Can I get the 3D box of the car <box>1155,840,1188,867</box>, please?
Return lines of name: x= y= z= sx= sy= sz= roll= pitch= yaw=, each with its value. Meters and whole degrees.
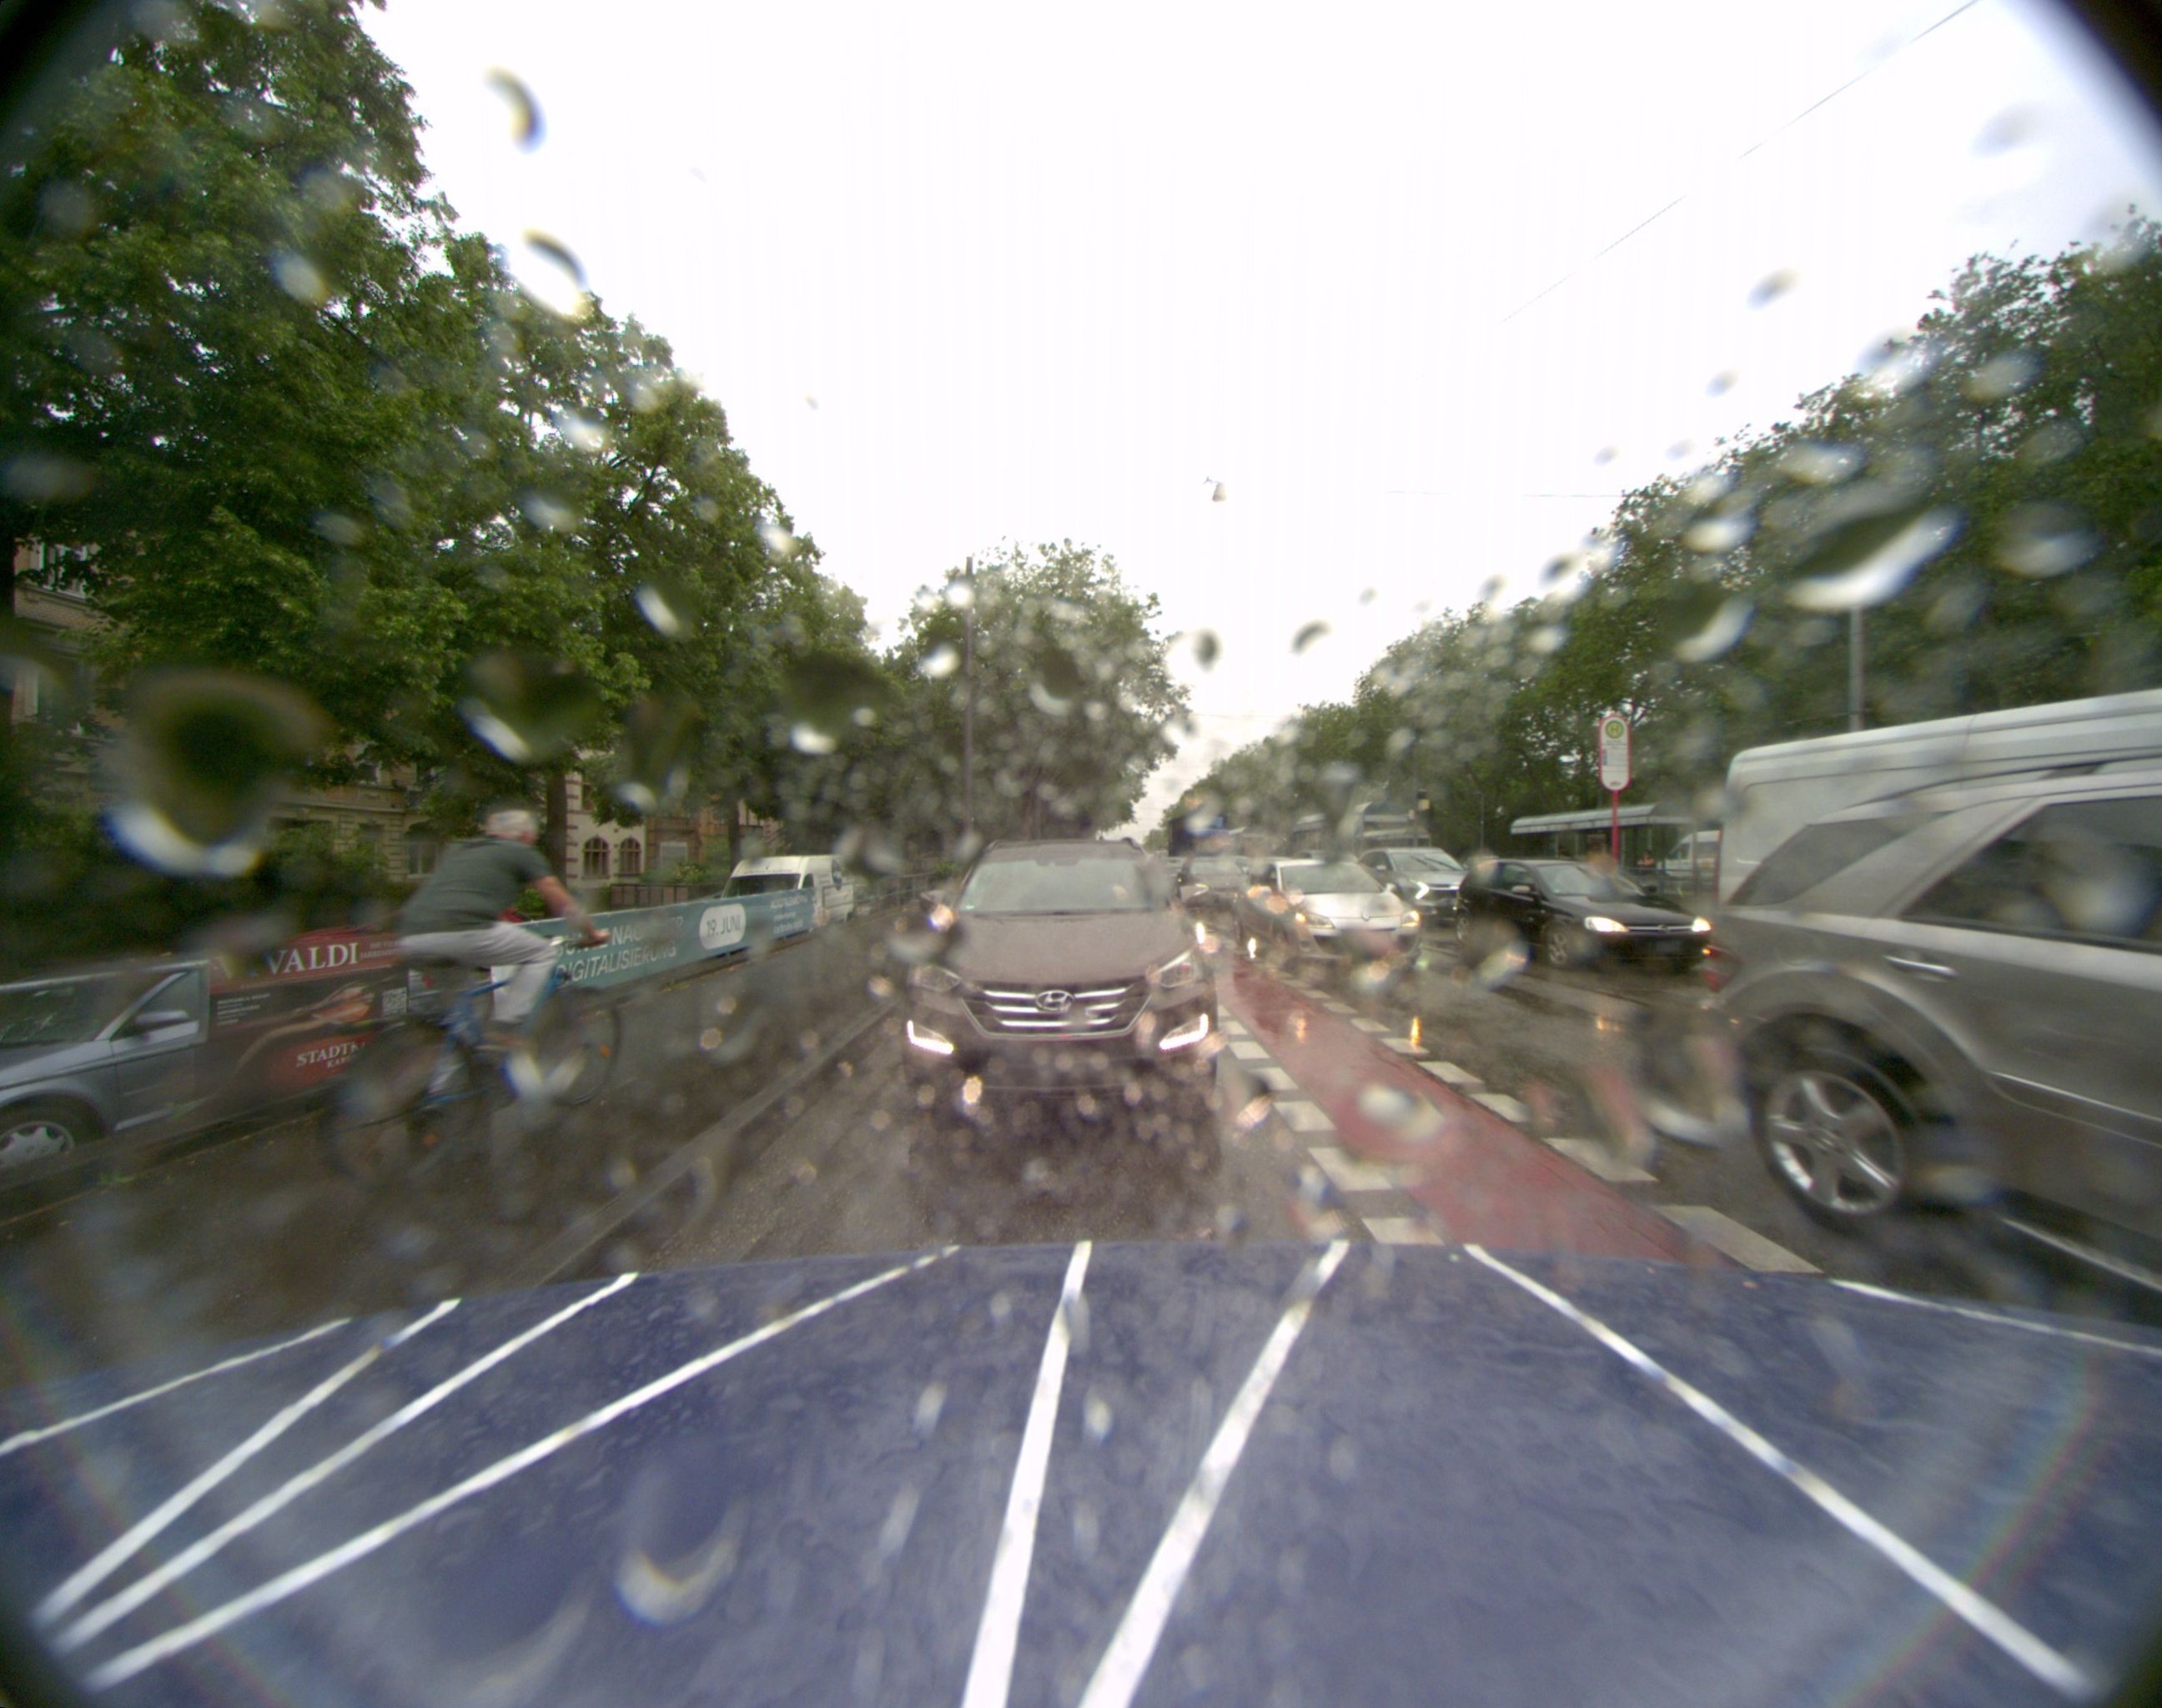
car: x=7.732 y=-0.056 z=65.551 sx=2.344 sy=2.137 sz=5.454 roll=-2 pitch=1 yaw=2

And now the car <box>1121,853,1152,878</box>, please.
car: x=4.122 y=0.816 z=57.085 sx=1.998 sy=1.737 sz=3.999 roll=-2 pitch=1 yaw=1

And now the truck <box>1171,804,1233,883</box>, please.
truck: x=7.131 y=-0.505 z=45.801 sx=2.417 sy=4.251 sz=8.354 roll=-1 pitch=-1 yaw=1

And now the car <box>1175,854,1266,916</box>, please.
car: x=3.871 y=0.826 z=21.860 sx=1.912 sy=1.540 sz=4.668 roll=-1 pitch=-1 yaw=3

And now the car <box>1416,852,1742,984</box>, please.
car: x=6.835 y=0.780 z=11.182 sx=1.786 sy=1.504 sz=4.557 roll=-1 pitch=-1 yaw=0

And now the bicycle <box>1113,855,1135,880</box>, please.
bicycle: x=2.002 y=0.627 z=35.817 sx=0.819 sy=1.082 sz=1.997 roll=-2 pitch=1 yaw=-3

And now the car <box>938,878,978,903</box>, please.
car: x=-7.801 y=2.328 z=48.570 sx=1.808 sy=1.446 sz=4.001 roll=-1 pitch=-1 yaw=1

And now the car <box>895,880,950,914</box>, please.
car: x=-7.531 y=2.011 z=36.447 sx=1.704 sy=1.363 sz=4.000 roll=-2 pitch=0 yaw=1

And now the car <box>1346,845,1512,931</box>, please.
car: x=7.423 y=0.685 z=16.735 sx=1.847 sy=1.625 sz=4.249 roll=-1 pitch=-1 yaw=3

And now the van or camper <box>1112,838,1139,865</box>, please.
van or camper: x=4.291 y=-0.222 z=74.168 sx=2.144 sy=2.484 sz=5.713 roll=-1 pitch=-1 yaw=-1

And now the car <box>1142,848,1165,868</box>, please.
car: x=7.443 y=0.401 z=78.313 sx=1.998 sy=2.001 sz=4.001 roll=-1 pitch=-1 yaw=1

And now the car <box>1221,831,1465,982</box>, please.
car: x=3.484 y=0.653 z=11.081 sx=1.975 sy=1.731 sz=4.267 roll=-1 pitch=-1 yaw=-1

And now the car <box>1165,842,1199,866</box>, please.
car: x=7.659 y=-0.052 z=57.957 sx=1.998 sy=1.706 sz=3.999 roll=-2 pitch=1 yaw=1

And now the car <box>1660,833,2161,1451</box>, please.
car: x=3.804 y=0.732 z=1.357 sx=1.913 sy=1.637 sz=4.680 roll=-1 pitch=-1 yaw=-1

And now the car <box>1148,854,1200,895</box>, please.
car: x=3.965 y=0.871 z=33.146 sx=1.912 sy=1.637 sz=4.192 roll=-1 pitch=-1 yaw=3

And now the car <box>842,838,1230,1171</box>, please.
car: x=-0.124 y=0.797 z=6.152 sx=1.912 sy=1.637 sz=4.682 roll=-1 pitch=-1 yaw=3

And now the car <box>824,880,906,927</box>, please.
car: x=-7.645 y=1.727 z=27.265 sx=1.630 sy=1.341 sz=4.216 roll=-1 pitch=0 yaw=1

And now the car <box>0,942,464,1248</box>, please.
car: x=-7.204 y=1.618 z=5.637 sx=1.731 sy=1.461 sz=4.217 roll=-1 pitch=-1 yaw=1

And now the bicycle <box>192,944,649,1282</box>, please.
bicycle: x=-3.019 y=1.084 z=3.805 sx=0.740 sy=1.066 sz=1.866 roll=0 pitch=-1 yaw=-4

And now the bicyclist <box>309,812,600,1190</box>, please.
bicyclist: x=-3.027 y=0.647 z=3.779 sx=0.738 sy=1.646 sz=0.877 roll=0 pitch=0 yaw=-4

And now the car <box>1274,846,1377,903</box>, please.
car: x=7.757 y=0.630 z=24.527 sx=1.913 sy=1.637 sz=4.191 roll=-1 pitch=-1 yaw=0

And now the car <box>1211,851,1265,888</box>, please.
car: x=7.450 y=0.729 z=36.353 sx=1.912 sy=1.637 sz=4.192 roll=-1 pitch=-1 yaw=3

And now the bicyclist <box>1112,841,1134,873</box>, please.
bicyclist: x=1.966 y=0.145 z=35.871 sx=0.927 sy=1.461 sz=0.805 roll=-2 pitch=1 yaw=-1

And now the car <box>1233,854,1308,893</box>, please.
car: x=7.459 y=0.745 z=30.297 sx=1.913 sy=1.399 sz=4.191 roll=-1 pitch=-1 yaw=0

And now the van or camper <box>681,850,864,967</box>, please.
van or camper: x=-7.796 y=1.274 z=20.098 sx=2.332 sy=2.575 sz=6.097 roll=-1 pitch=-1 yaw=0

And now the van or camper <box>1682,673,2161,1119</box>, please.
van or camper: x=7.037 y=0.222 z=4.497 sx=2.181 sy=2.456 sz=5.971 roll=-1 pitch=-1 yaw=0

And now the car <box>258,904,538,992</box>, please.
car: x=-14.588 y=1.949 z=16.610 sx=4.294 sy=1.461 sz=1.705 roll=-1 pitch=-1 yaw=-31
